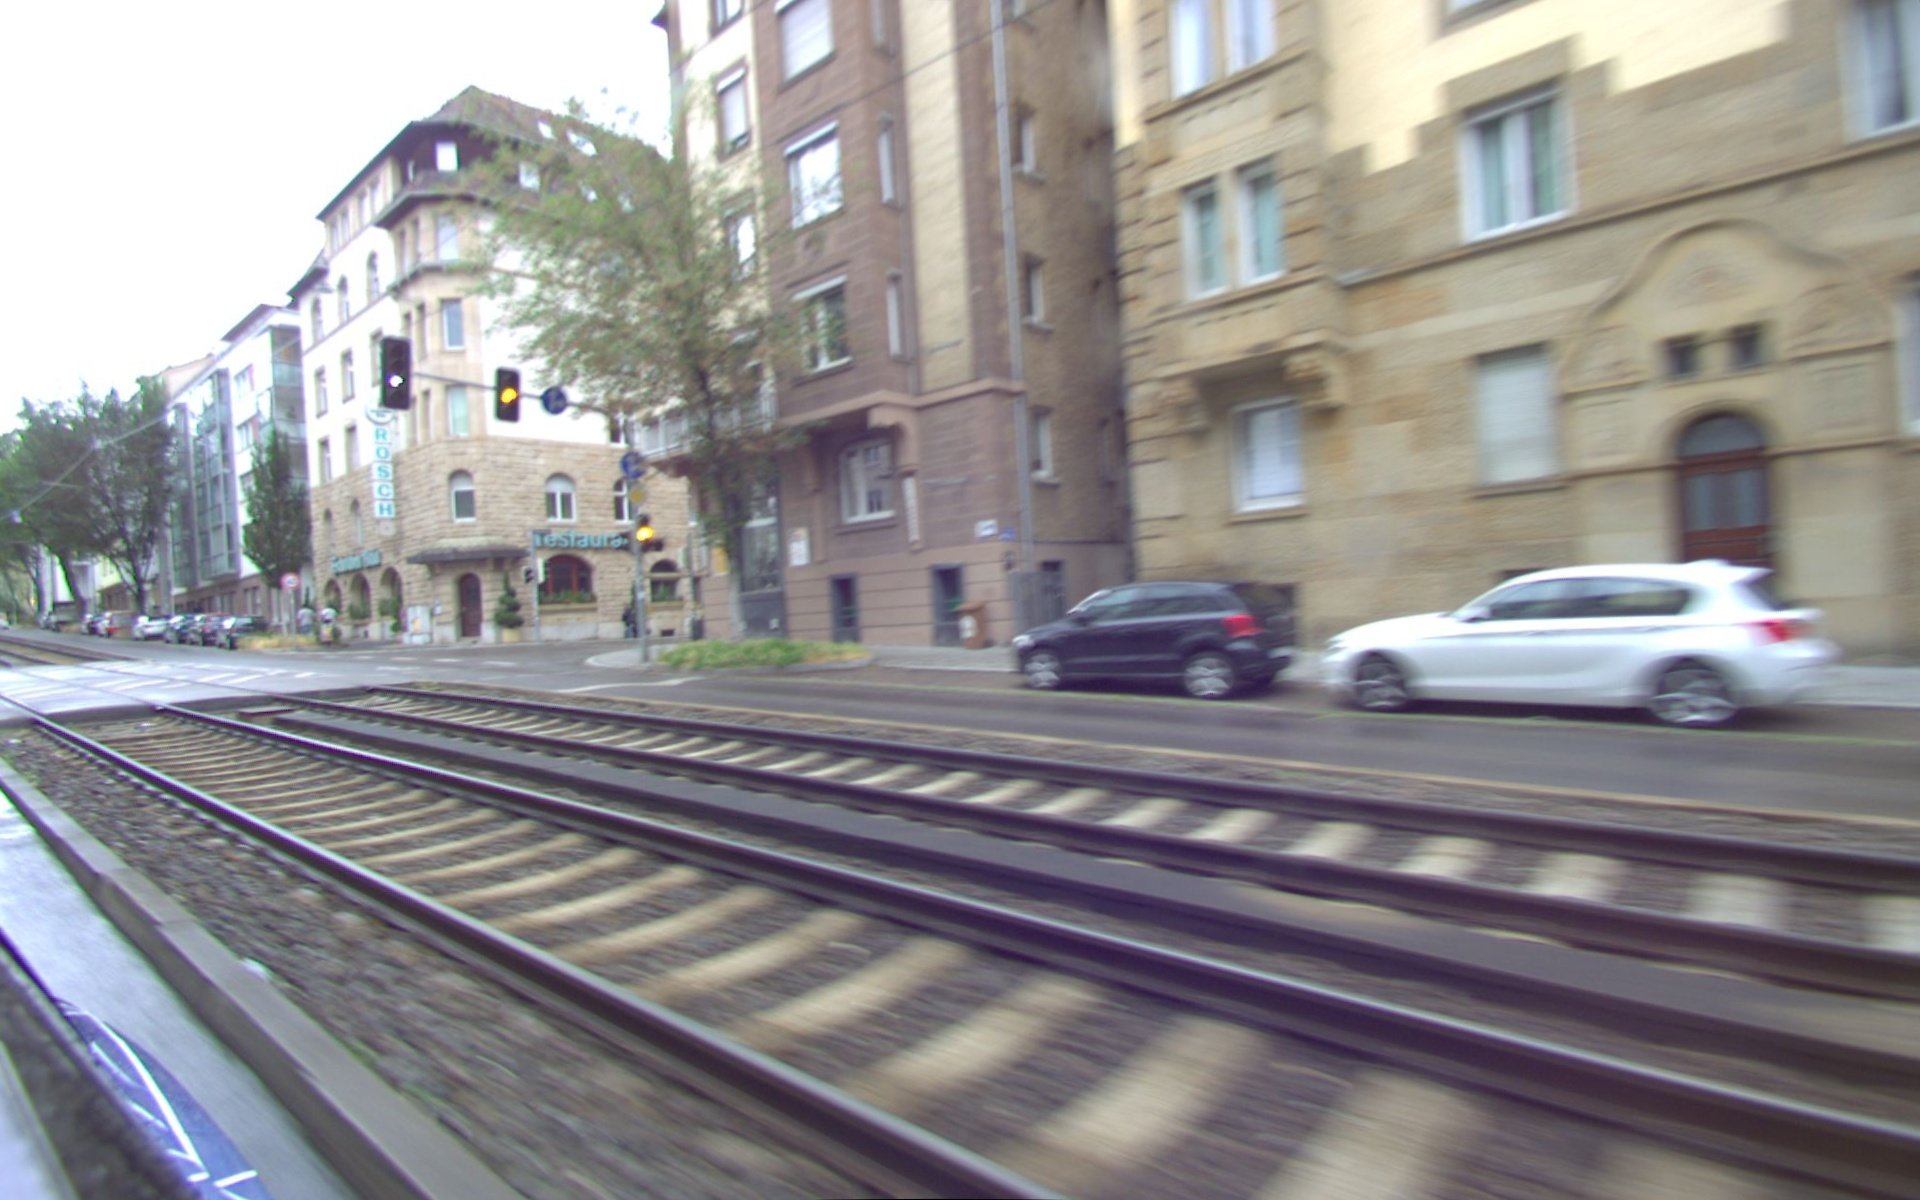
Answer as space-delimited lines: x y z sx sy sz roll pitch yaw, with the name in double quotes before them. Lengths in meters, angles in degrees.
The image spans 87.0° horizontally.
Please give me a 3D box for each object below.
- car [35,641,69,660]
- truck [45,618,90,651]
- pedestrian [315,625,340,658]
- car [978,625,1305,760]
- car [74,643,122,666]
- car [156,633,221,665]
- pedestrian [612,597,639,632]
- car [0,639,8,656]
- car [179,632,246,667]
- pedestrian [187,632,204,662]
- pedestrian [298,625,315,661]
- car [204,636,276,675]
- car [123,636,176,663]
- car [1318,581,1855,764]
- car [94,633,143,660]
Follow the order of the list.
"car" -77.016 4.261 85.852 4.359 1.471 1.686 -2 1 42
"truck" -69.640 2.641 78.953 6.354 2.363 2.168 0 0 44
"pedestrian" -28.301 1.838 45.283 0.645 1.432 0.746 -2 -1 42
"car" 2.326 1.122 13.594 4.000 1.497 1.746 -2 -1 43
"car" -59.130 3.734 69.418 4.467 1.451 1.886 -2 -1 41
"car" -38.901 2.473 50.994 4.429 1.466 1.782 -2 -1 41
"pedestrian" -13.720 0.607 41.540 0.721 1.426 0.807 -2 -1 45
"car" -87.505 4.317 91.656 3.581 1.493 1.609 -2 -1 43
"car" -35.323 2.330 47.792 3.524 1.509 1.789 -2 0 41
"pedestrian" -47.259 2.903 62.551 0.782 1.786 0.666 -2 0 42
"pedestrian" -28.833 1.886 44.628 0.511 1.582 0.644 0 -1 -44
"car" -31.706 2.420 44.510 3.893 1.564 1.746 -2 -1 42
"car" -45.441 2.763 56.712 4.129 1.345 1.684 -2 2 42
"car" 5.991 0.628 10.061 4.263 1.436 1.649 -3 -1 44
"car" -53.742 2.947 64.599 4.157 1.581 1.758 -2 -1 41
